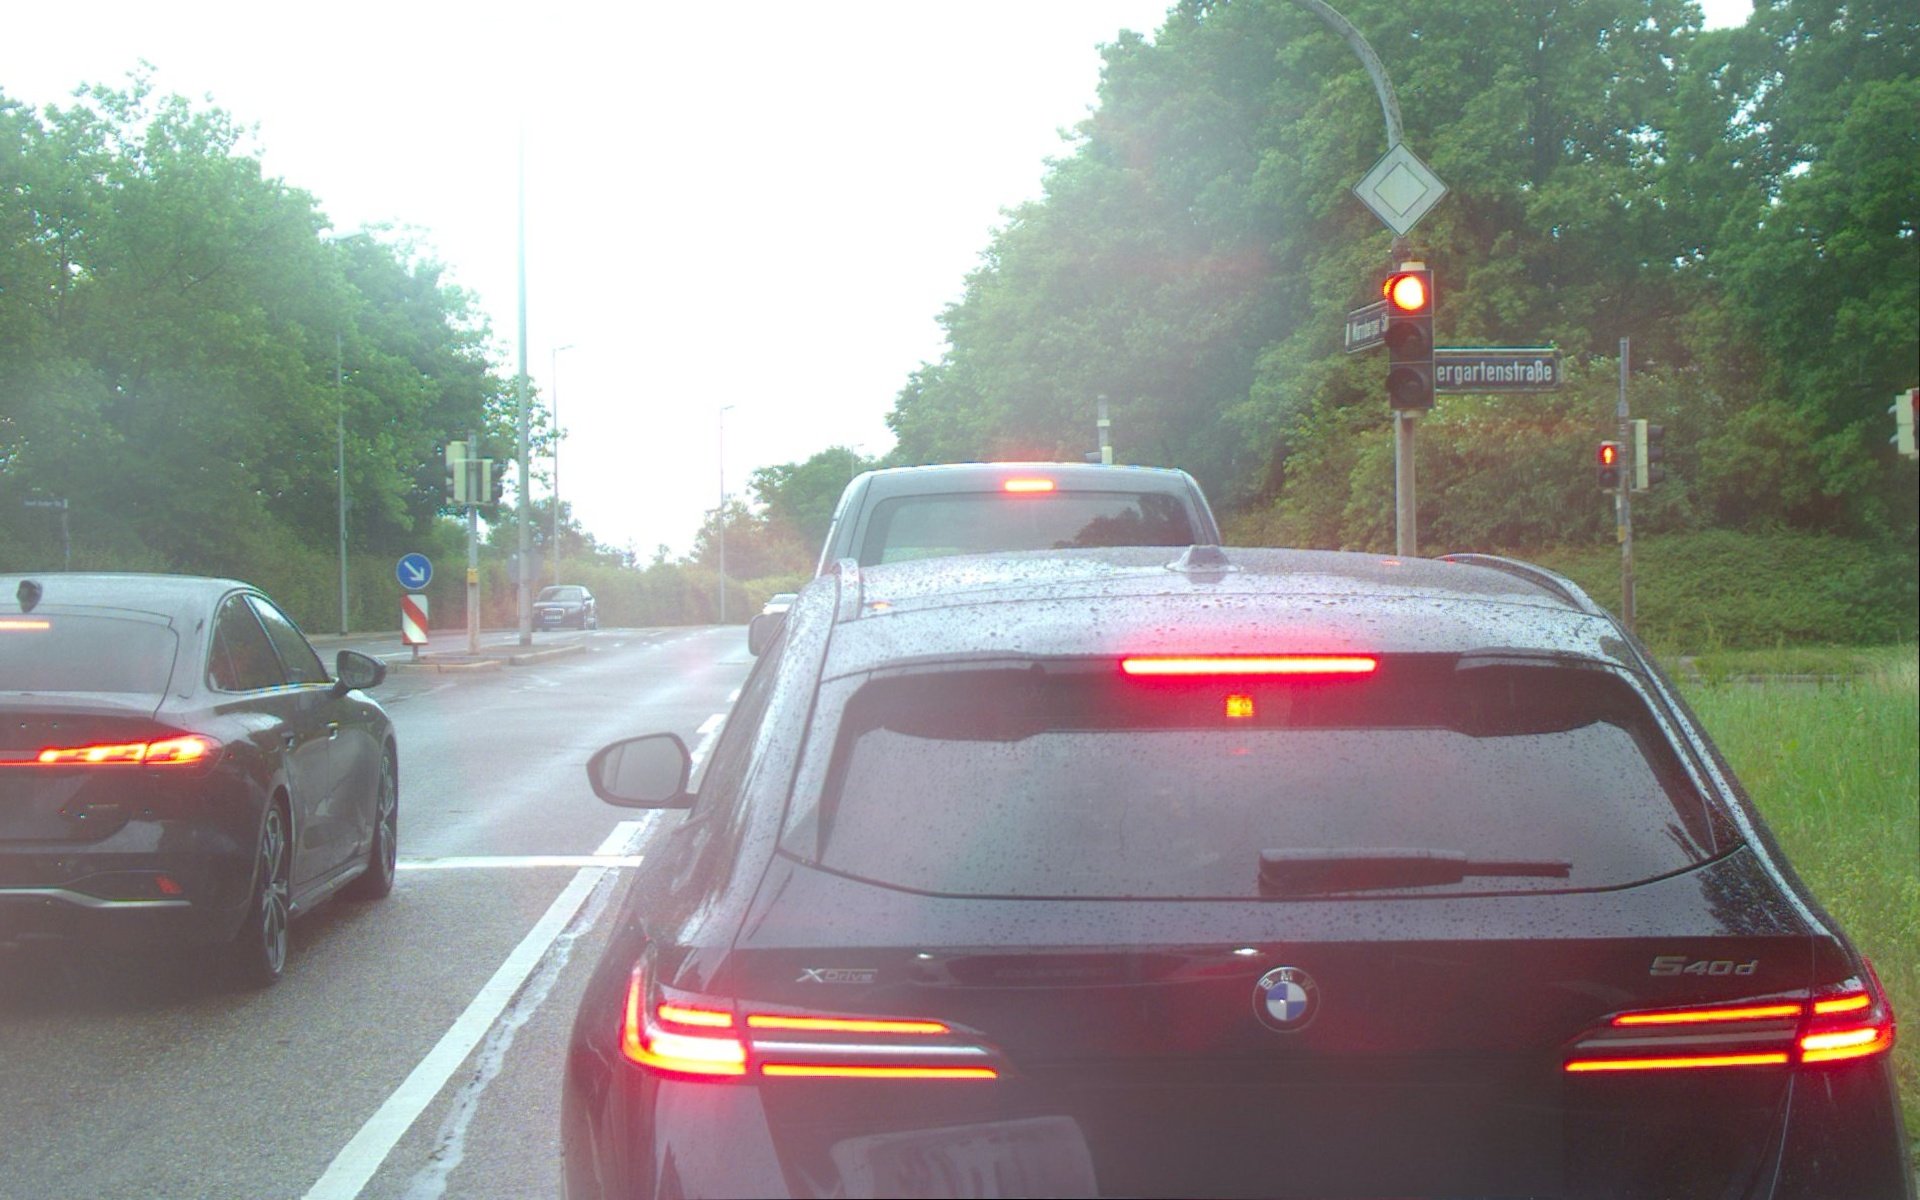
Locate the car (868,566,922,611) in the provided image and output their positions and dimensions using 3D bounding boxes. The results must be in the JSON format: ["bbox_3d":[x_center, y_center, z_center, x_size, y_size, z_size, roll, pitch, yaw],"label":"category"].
[{"bbox_3d":[-2.193,-0.400,116.155,1.697,1.422,3.514,-2,0,0],"label":"car"}]

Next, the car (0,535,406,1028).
[{"bbox_3d":[-3.376,0.584,12.968,1.993,1.522,4.328,-2,0,-3],"label":"car"}]

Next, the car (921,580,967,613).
[{"bbox_3d":[-0.914,-0.210,200.029,2.106,1.759,4.867,-2,0,6],"label":"car"}]

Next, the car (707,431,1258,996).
[{"bbox_3d":[0.071,0.361,13.348,1.818,1.862,3.952,0,0,0],"label":"car"}]

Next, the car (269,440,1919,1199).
[{"bbox_3d":[0.198,0.600,6.251,1.898,1.546,4.614,0,0,1],"label":"car"}]

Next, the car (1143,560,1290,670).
[{"bbox_3d":[3.868,0.205,52.416,1.873,1.537,3.952,-2,0,0],"label":"car"}]

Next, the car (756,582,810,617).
[{"bbox_3d":[-8.465,-0.036,164.606,1.994,1.605,3.671,-2,0,6],"label":"car"}]

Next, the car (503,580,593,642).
[{"bbox_3d":[-12.724,0.323,106.410,1.994,1.820,4.000,-2,0,3],"label":"car"}]
